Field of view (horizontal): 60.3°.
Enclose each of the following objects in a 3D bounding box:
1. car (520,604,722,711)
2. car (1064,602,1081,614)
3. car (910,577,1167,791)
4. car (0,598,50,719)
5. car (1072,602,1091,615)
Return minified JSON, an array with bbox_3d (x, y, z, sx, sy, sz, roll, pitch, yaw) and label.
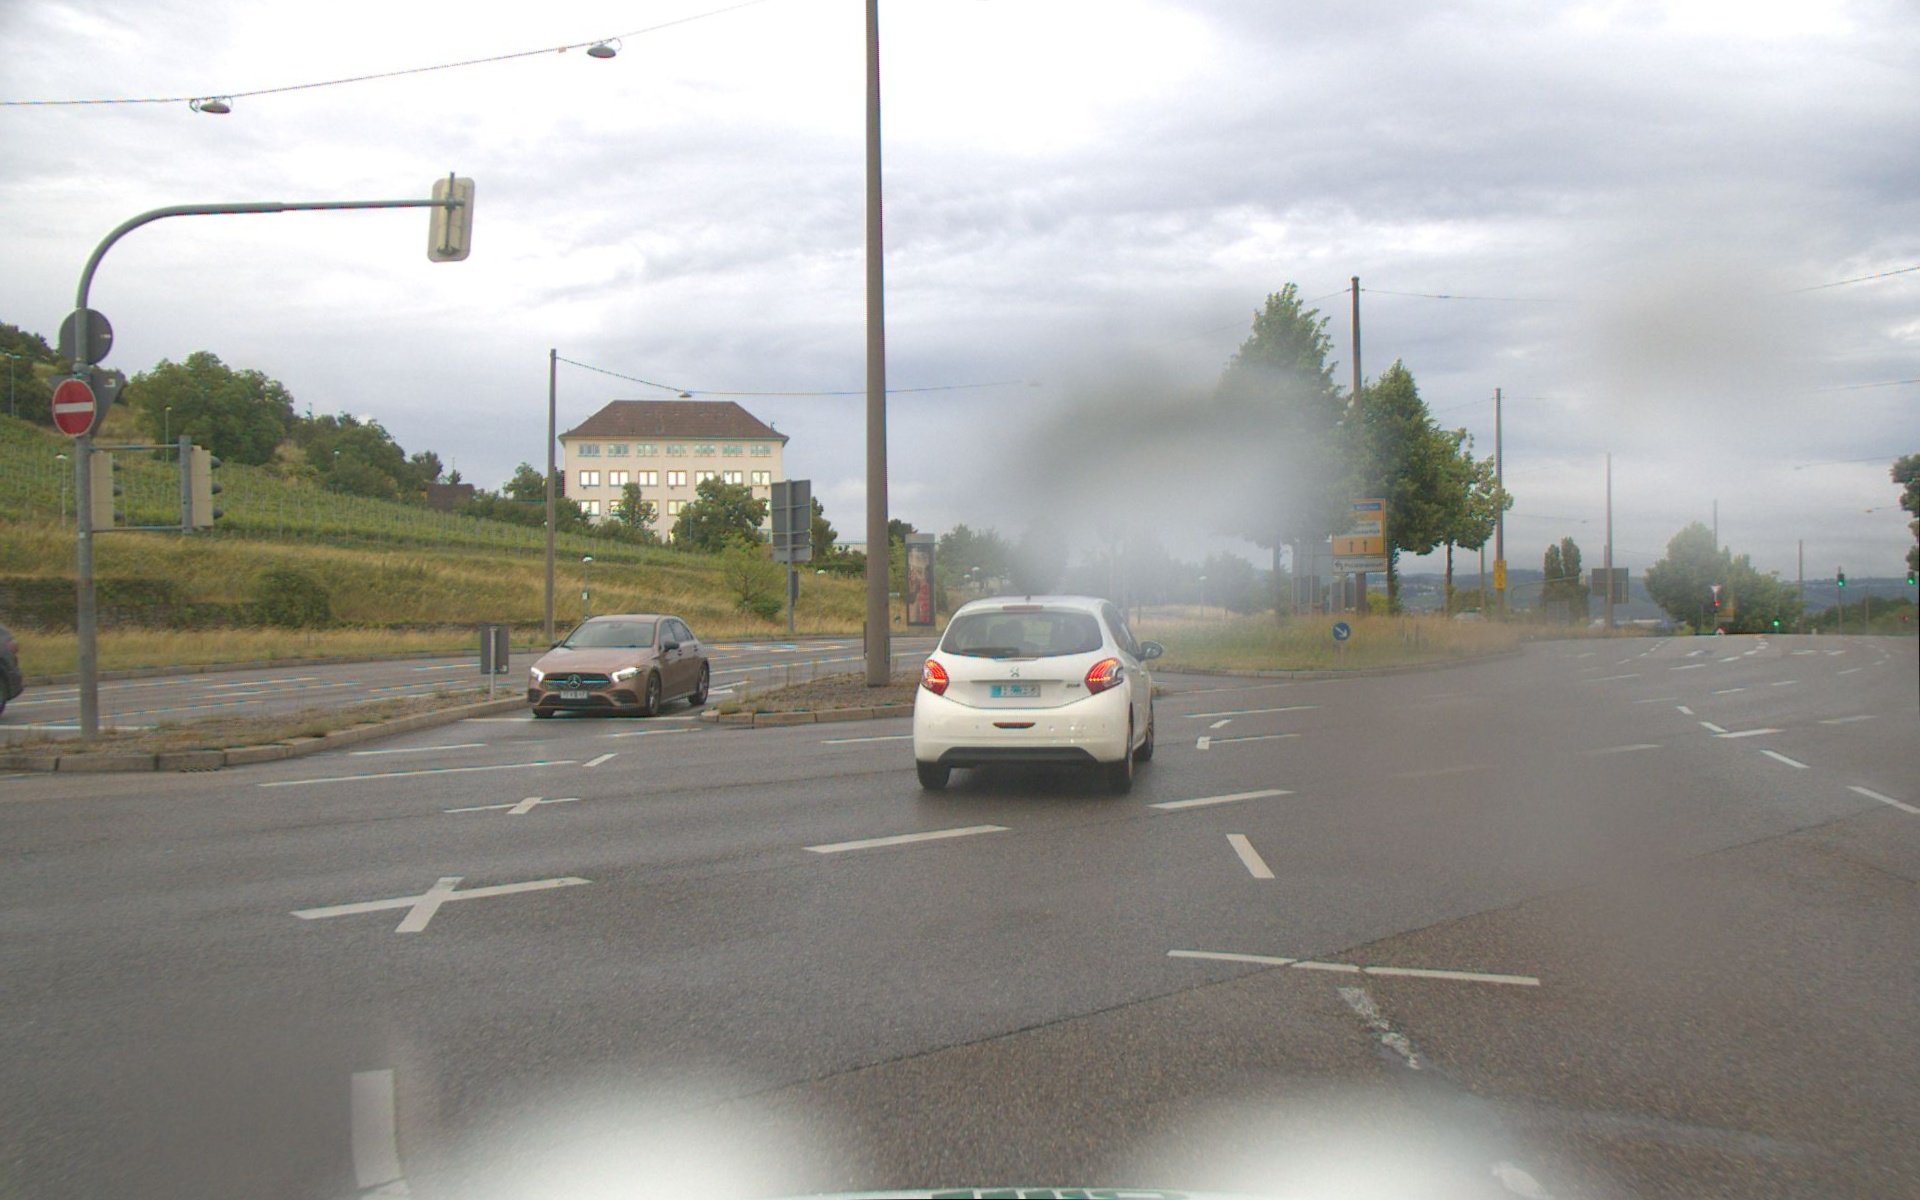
[{"bbox_3d":[-4.990,0.803,24.982,1.738,1.450,4.377,-1,0,6],"label":"car"},{"bbox_3d":[14.146,1.007,207.530,1.804,1.512,3.999,-1,0,-1],"label":"car"},{"bbox_3d":[0.802,0.602,13.900,1.681,1.515,4.003,0,0,10],"label":"car"},{"bbox_3d":[-14.412,0.782,21.696,1.738,1.665,4.512,1,0,13],"label":"car"},{"bbox_3d":[14.628,0.996,199.138,1.804,1.512,3.999,-1,0,-1],"label":"car"}]
